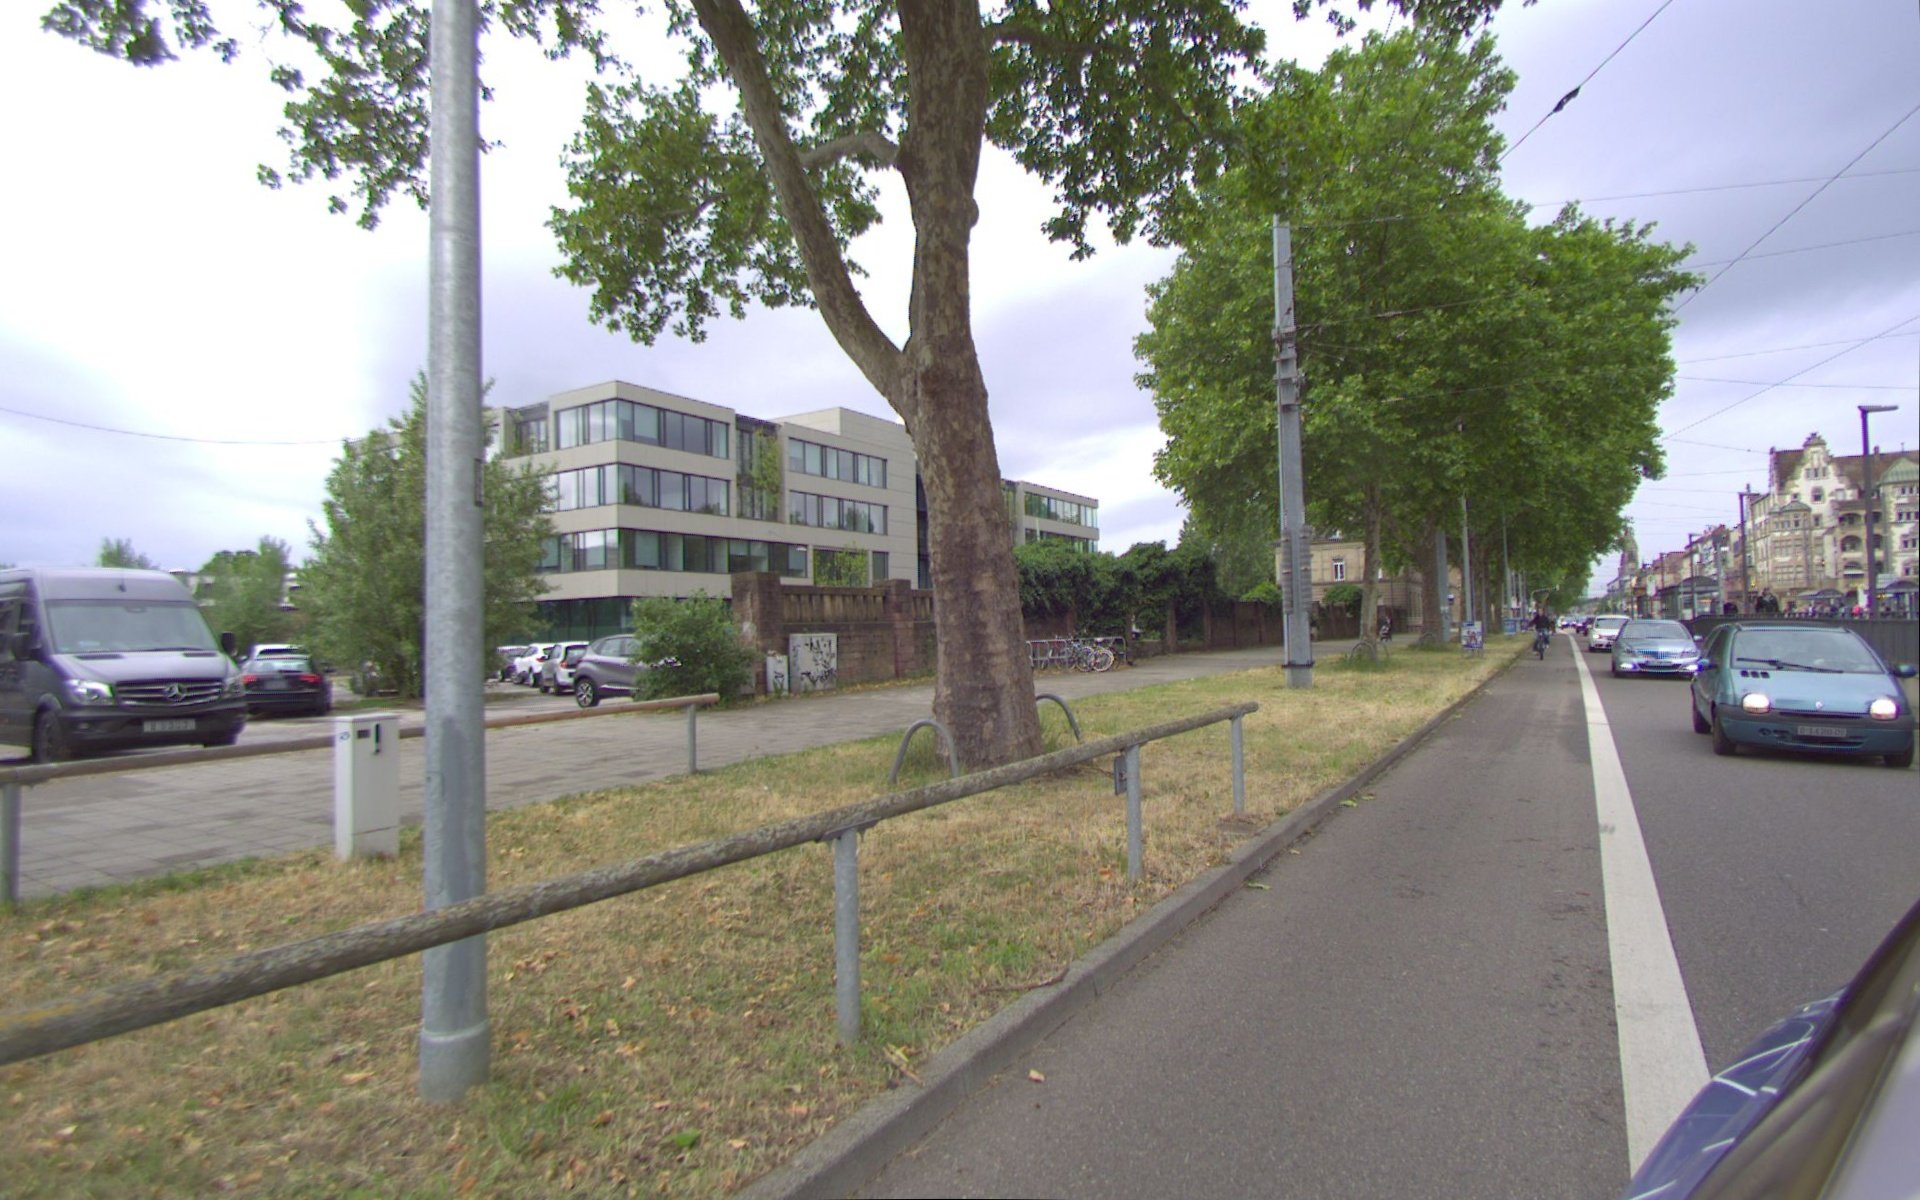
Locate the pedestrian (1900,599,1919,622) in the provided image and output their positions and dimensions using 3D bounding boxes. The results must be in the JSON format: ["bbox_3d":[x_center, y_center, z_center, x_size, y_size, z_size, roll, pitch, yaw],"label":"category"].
[{"bbox_3d":[60.758,0.674,64.485,1.034,1.390,0.927,-3,-2,35],"label":"pedestrian"}]

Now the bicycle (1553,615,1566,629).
[{"bbox_3d":[50.024,1.829,84.422,0.808,1.184,2.253,-3,-1,30],"label":"bicycle"}]

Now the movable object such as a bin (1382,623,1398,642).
[{"bbox_3d":[26.068,1.963,61.315,0.610,1.127,1.001,-3,-3,38],"label":"movable object such as a bin"}]

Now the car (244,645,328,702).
[{"bbox_3d":[-20.826,2.213,31.215,1.963,1.538,3.997,-1,-2,-36],"label":"car"}]

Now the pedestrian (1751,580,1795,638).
[{"bbox_3d":[29.750,0.335,37.049,1.053,2.040,0.830,-3,-2,32],"label":"pedestrian"}]

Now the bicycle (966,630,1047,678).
[{"bbox_3d":[1.113,1.284,24.330,1.912,1.105,0.544,-1,-1,31],"label":"bicycle"}]

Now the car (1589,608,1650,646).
[{"bbox_3d":[27.856,1.116,42.832,1.984,1.470,4.053,-3,-1,32],"label":"car"}]

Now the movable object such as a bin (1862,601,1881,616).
[{"bbox_3d":[62.435,0.579,69.317,0.609,1.034,0.722,-2,-1,-1],"label":"movable object such as a bin"}]

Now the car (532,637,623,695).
[{"bbox_3d":[-11.784,1.951,31.024,1.960,1.572,4.002,-1,-1,-30],"label":"car"}]

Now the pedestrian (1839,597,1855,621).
[{"bbox_3d":[67.269,0.676,76.764,0.577,1.792,0.598,-2,-2,-5],"label":"pedestrian"}]

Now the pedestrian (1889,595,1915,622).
[{"bbox_3d":[61.876,0.573,66.499,1.034,1.708,0.927,-3,-2,35],"label":"pedestrian"}]

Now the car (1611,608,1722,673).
[{"bbox_3d":[17.609,0.976,25.411,1.984,1.470,4.053,-3,-1,32],"label":"car"}]

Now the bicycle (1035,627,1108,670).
[{"bbox_3d":[3.042,1.310,27.722,1.964,1.109,0.544,-1,-1,31],"label":"bicycle"}]

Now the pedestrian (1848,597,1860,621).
[{"bbox_3d":[62.560,0.626,70.853,0.534,1.628,0.557,-3,-2,39],"label":"pedestrian"}]

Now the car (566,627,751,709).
[{"bbox_3d":[-6.549,1.480,21.894,3.746,1.600,1.732,-3,-2,30],"label":"car"}]

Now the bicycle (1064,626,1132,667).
[{"bbox_3d":[3.915,1.306,28.775,1.880,1.119,0.544,-1,-1,31],"label":"bicycle"}]

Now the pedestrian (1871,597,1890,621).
[{"bbox_3d":[63.034,0.645,69.294,0.568,1.628,0.657,-2,-2,-1],"label":"pedestrian"}]

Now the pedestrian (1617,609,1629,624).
[{"bbox_3d":[75.029,1.831,114.443,0.843,1.664,0.654,-1,-2,-10],"label":"pedestrian"}]

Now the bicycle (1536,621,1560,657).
[{"bbox_3d":[20.488,1.337,35.293,0.649,1.165,2.259,-3,-1,30],"label":"bicycle"}]

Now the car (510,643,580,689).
[{"bbox_3d":[-16.009,2.475,38.954,1.960,1.572,4.002,-1,-1,-30],"label":"car"}]

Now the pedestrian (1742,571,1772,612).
[{"bbox_3d":[35.777,-0.369,45.454,0.663,1.816,1.106,-2,-2,19],"label":"pedestrian"}]

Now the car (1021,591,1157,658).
[{"bbox_3d":[5.428,1.060,42.826,5.202,2.453,2.053,-5,-3,30],"label":"car"}]

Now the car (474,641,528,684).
[{"bbox_3d":[-19.537,2.624,43.147,1.959,1.639,4.417,-1,-1,-24],"label":"car"}]

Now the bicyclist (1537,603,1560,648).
[{"bbox_3d":[20.525,0.887,35.320,0.637,1.550,0.657,-3,-2,30],"label":"bicyclist"}]

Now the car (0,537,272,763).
[{"bbox_3d":[-11.937,0.788,13.975,5.763,2.555,2.143,-5,-4,35],"label":"car"}]

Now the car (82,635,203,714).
[{"bbox_3d":[-22.668,1.997,28.223,1.960,1.973,4.003,-1,-1,-29],"label":"car"}]

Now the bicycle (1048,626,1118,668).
[{"bbox_3d":[3.421,1.304,28.228,1.890,1.111,0.544,-1,-1,31],"label":"bicycle"}]

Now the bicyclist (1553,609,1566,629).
[{"bbox_3d":[50.049,1.560,84.488,0.806,1.621,1.176,-3,-2,31],"label":"bicyclist"}]

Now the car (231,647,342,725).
[{"bbox_3d":[-15.700,1.911,23.503,1.963,1.538,3.997,-1,-2,-36],"label":"car"}]

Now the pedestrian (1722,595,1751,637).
[{"bbox_3d":[34.313,0.695,44.737,0.664,1.816,1.104,-2,-2,23],"label":"pedestrian"}]

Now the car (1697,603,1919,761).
[{"bbox_3d":[9.411,0.793,11.417,1.524,1.491,3.314,-1,-1,33],"label":"car"}]

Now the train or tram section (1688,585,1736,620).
[{"bbox_3d":[86.810,0.263,117.059,2.840,3.739,13.373,-3,-1,30],"label":"train or tram section"}]
